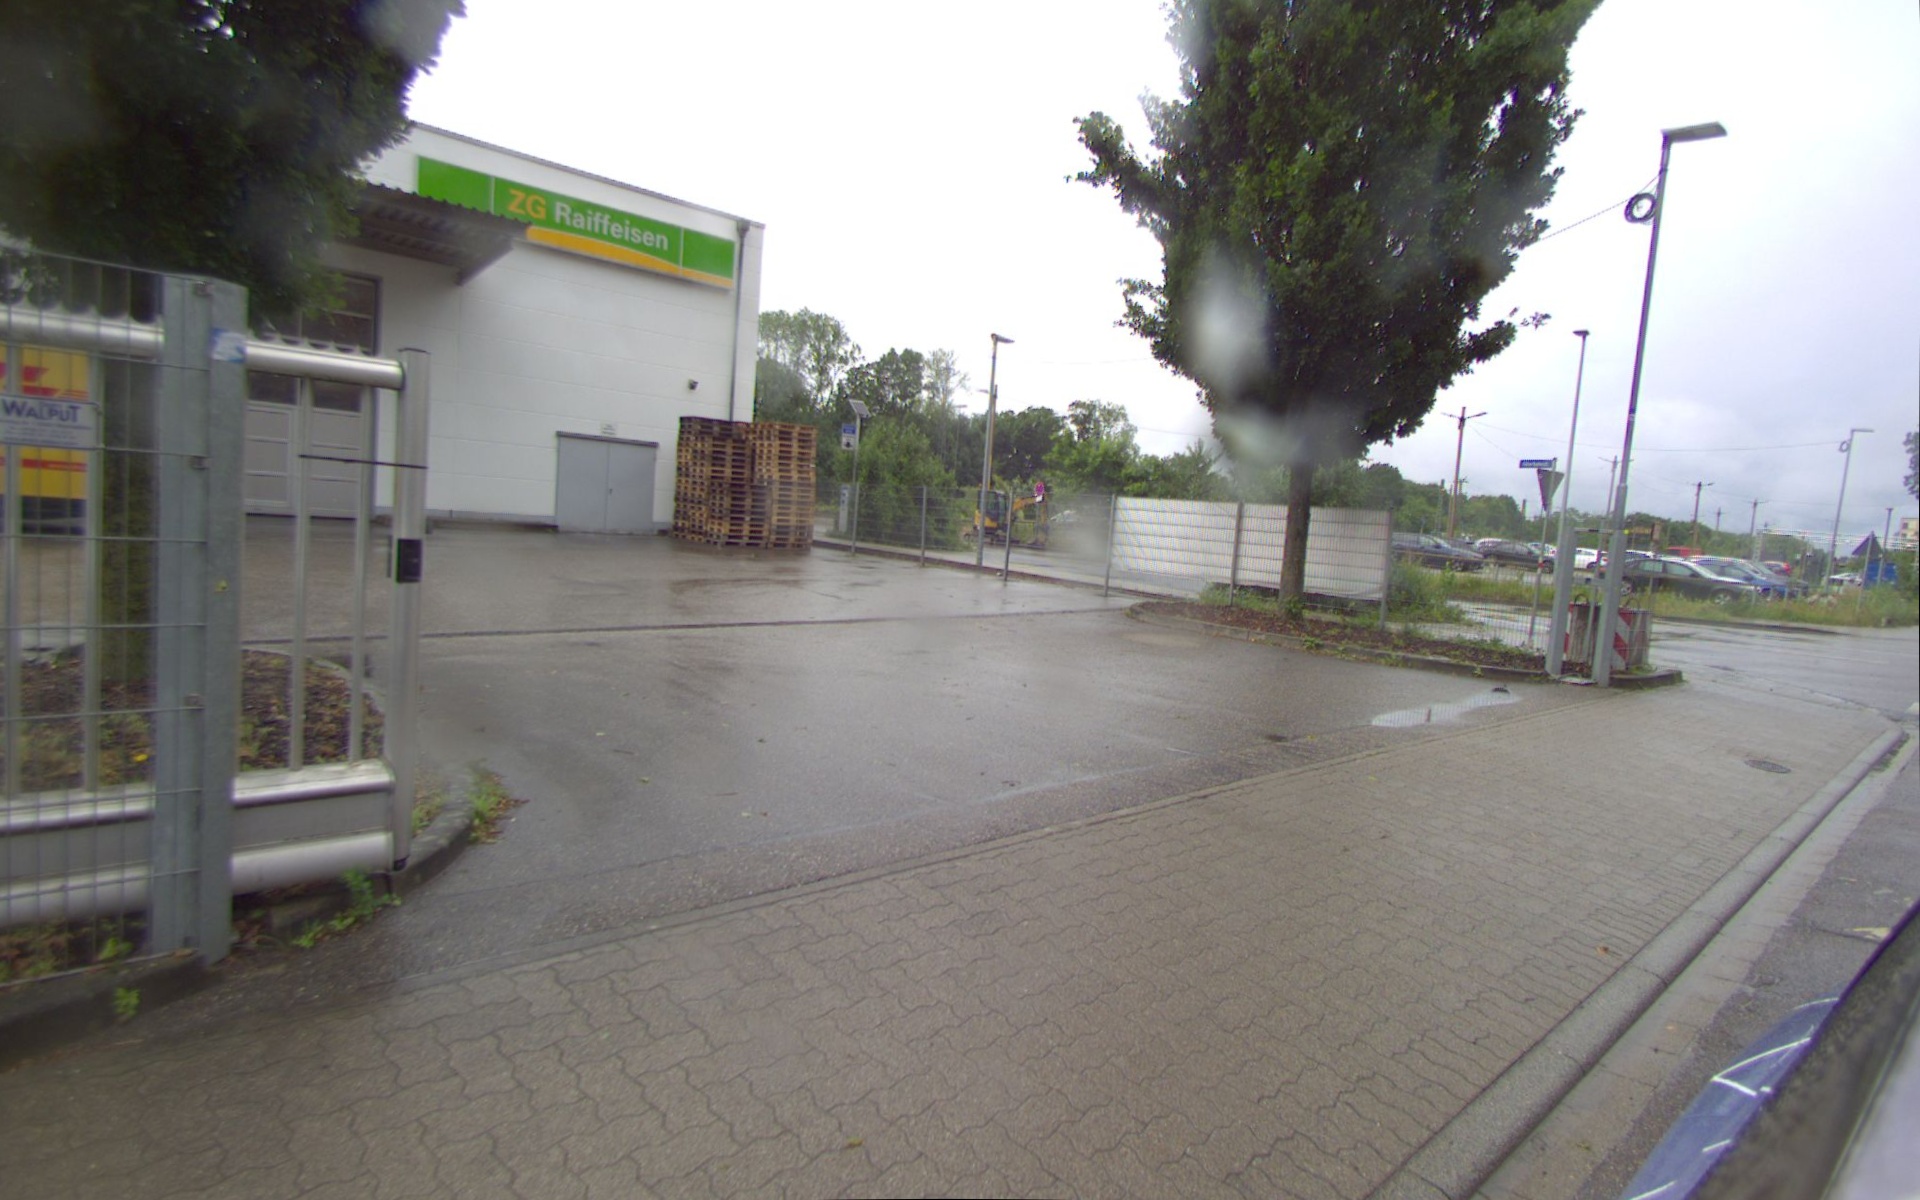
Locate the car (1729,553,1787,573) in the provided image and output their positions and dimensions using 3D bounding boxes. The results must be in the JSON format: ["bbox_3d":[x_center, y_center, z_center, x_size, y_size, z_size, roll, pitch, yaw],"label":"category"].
[{"bbox_3d":[77.310,-3.637,98.072,1.854,1.442,3.967,-2,10,-39],"label":"car"}]

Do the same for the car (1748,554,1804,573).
[{"bbox_3d":[84.886,-3.789,105.342,1.892,1.506,4.080,-2,10,-39],"label":"car"}]

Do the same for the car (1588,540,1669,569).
[{"bbox_3d":[45.378,-3.111,68.736,1.893,1.500,4.062,-2,10,-39],"label":"car"}]

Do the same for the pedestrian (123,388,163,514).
[{"bbox_3d":[-11.757,-2.139,14.565,0.425,1.737,0.457,1,7,-39],"label":"pedestrian"}]

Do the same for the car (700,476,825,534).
[{"bbox_3d":[-7.401,-3.547,38.152,1.787,1.843,4.314,11,9,43],"label":"car"}]

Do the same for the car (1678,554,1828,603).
[{"bbox_3d":[31.190,-0.901,39.901,1.788,1.534,4.307,-2,7,-41],"label":"car"}]

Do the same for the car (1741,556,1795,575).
[{"bbox_3d":[82.725,-3.579,103.643,1.789,1.442,3.967,-2,10,-39],"label":"car"}]

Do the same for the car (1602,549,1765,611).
[{"bbox_3d":[24.394,-0.734,34.206,4.218,1.415,1.864,12,10,40],"label":"car"}]

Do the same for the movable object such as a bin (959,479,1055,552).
[{"bbox_3d":[2.099,-3.890,46.143,1.966,3.027,3.996,0,6,-42],"label":"movable object such as a bin"}]

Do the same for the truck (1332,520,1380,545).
[{"bbox_3d":[38.720,-6.598,98.881,5.187,2.036,2.088,0,7,-41],"label":"truck"}]

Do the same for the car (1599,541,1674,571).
[{"bbox_3d":[47.378,-3.122,70.931,1.754,1.600,3.919,-2,10,-39],"label":"car"}]

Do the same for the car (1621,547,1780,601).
[{"bbox_3d":[26.498,-0.993,36.324,1.858,1.527,4.193,-2,8,-41],"label":"car"}]

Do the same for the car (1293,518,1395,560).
[{"bbox_3d":[20.180,-3.252,53.345,2.009,1.690,4.454,-3,11,-42],"label":"car"}]

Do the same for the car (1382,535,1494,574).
[{"bbox_3d":[21.382,-2.076,45.360,1.965,1.425,3.998,-2,7,-41],"label":"car"}]

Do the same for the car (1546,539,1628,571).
[{"bbox_3d":[39.467,-2.876,63.787,1.893,1.500,3.845,-2,10,-39],"label":"car"}]

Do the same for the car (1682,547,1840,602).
[{"bbox_3d":[33.659,-1.118,42.660,2.089,1.754,4.700,-1,8,-37],"label":"car"}]

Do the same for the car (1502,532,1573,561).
[{"bbox_3d":[42.895,-3.986,75.217,1.802,1.677,4.071,-3,11,-43],"label":"car"}]

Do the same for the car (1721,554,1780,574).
[{"bbox_3d":[74.934,-3.453,95.985,1.854,1.442,3.967,-2,10,-39],"label":"car"}]

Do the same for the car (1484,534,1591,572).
[{"bbox_3d":[31.439,-2.610,55.182,4.622,1.735,1.989,8,8,42],"label":"car"}]

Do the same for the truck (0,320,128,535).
[{"bbox_3d":[-14.913,-2.394,12.362,7.283,2.689,2.309,0,8,-39],"label":"truck"}]

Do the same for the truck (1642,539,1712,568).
[{"bbox_3d":[72.891,-4.748,102.946,2.116,2.394,5.303,-1,8,-42],"label":"truck"}]

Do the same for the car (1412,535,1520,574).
[{"bbox_3d":[23.610,-2.159,47.340,1.965,1.502,3.998,-2,7,-41],"label":"car"}]

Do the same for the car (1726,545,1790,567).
[{"bbox_3d":[70.149,-3.861,89.006,1.746,1.506,3.967,-2,10,-39],"label":"car"}]

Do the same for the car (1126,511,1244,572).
[{"bbox_3d":[8.559,-2.261,38.731,1.801,1.944,3.996,0,6,-43],"label":"car"}]
